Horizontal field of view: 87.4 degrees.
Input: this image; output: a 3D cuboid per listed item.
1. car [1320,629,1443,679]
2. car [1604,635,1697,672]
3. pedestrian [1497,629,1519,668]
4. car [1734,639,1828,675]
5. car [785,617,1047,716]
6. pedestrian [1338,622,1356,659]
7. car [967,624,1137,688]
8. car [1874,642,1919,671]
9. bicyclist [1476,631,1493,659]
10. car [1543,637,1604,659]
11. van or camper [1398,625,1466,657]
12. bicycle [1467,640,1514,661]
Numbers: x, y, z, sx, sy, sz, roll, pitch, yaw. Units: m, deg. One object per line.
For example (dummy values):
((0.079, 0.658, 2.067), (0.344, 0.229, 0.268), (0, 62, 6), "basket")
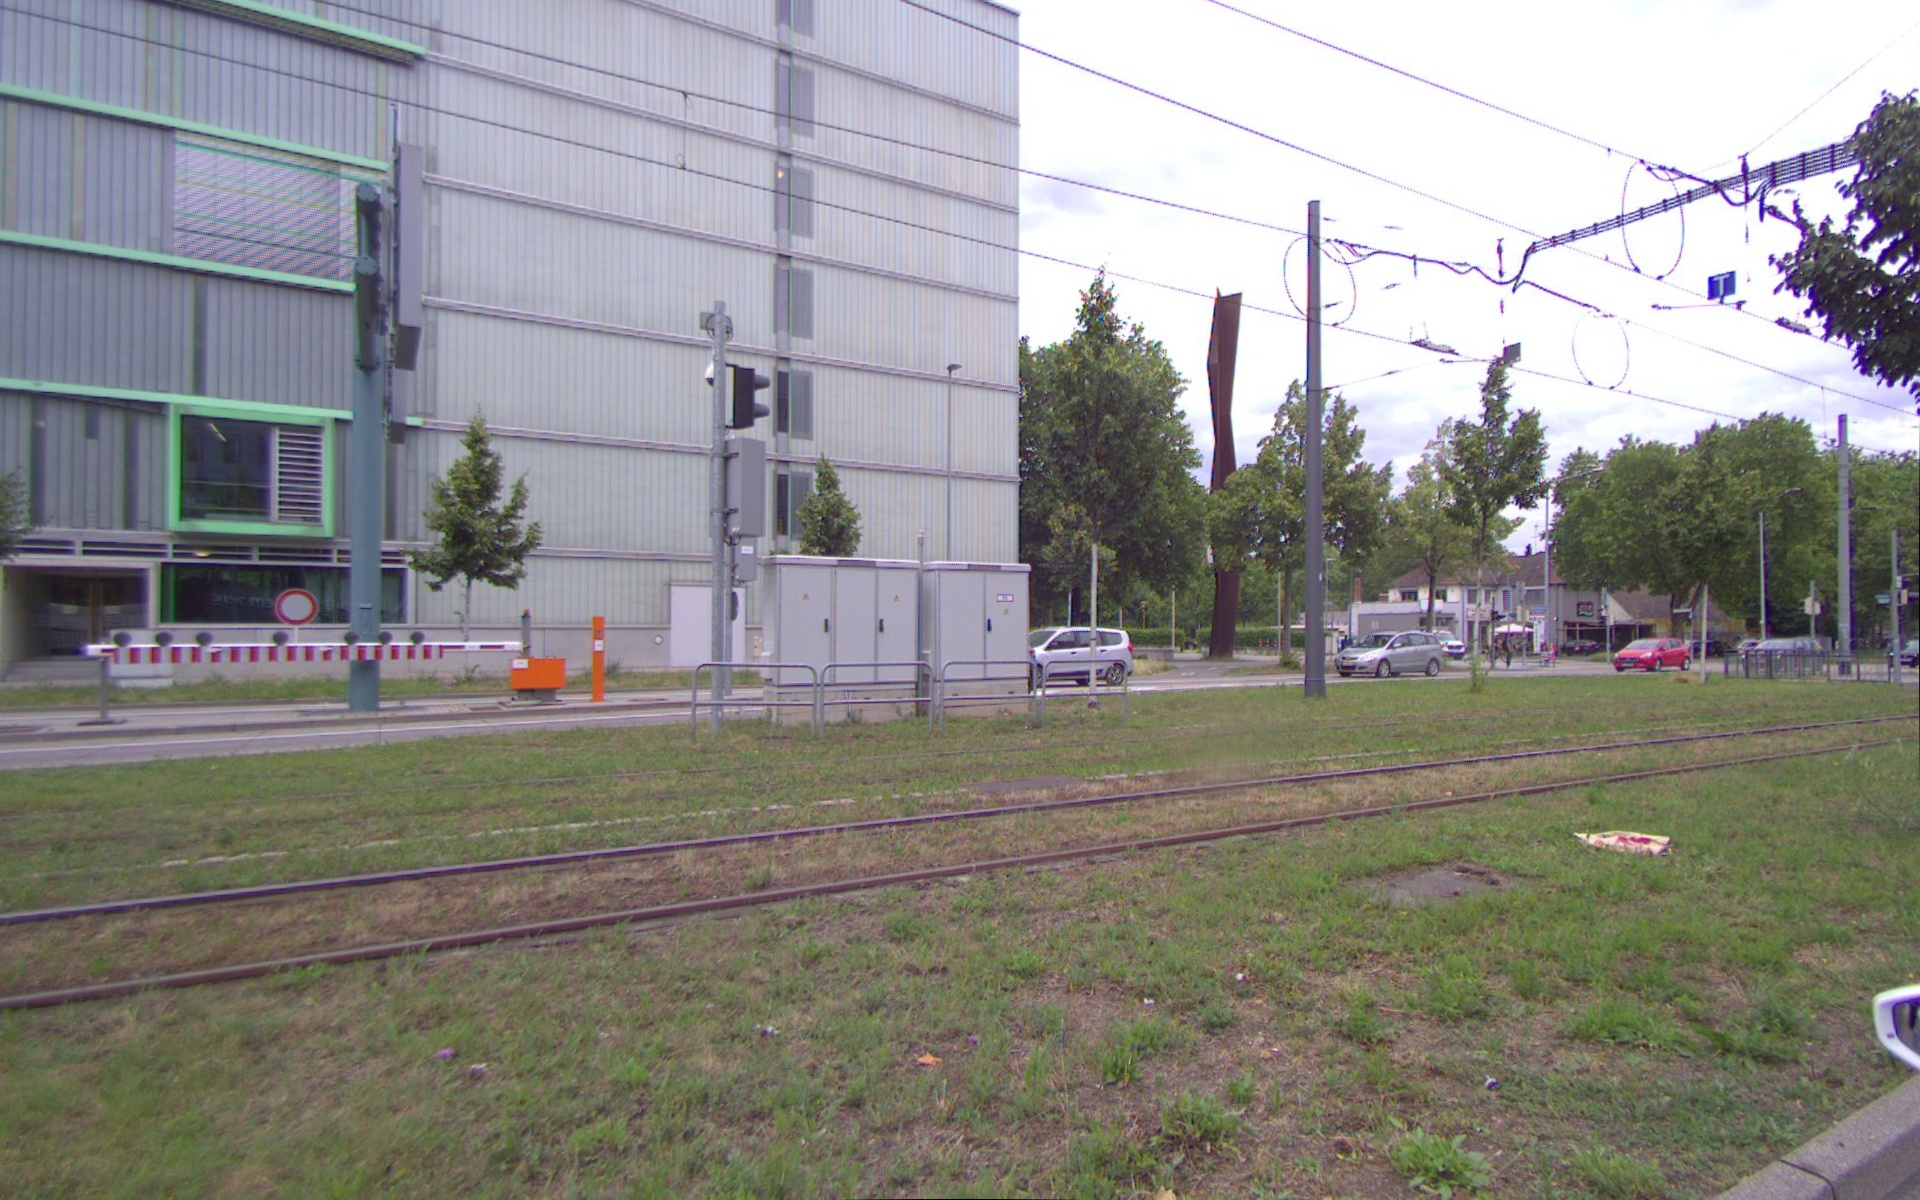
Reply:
((14.978, 1.877, 35.624), (4.623, 1.665, 1.711), (1, -2, -33), "car")
((31.145, 2.372, 45.283), (4.275, 1.591, 1.788), (1, -1, -29), "car")
((26.821, 2.370, 49.191), (0.769, 1.856, 0.771), (-1, -1, 43), "pedestrian")
((35.357, 2.433, 43.239), (4.692, 1.445, 1.655), (1, -3, -32), "car")
((-0.733, 1.147, 18.804), (4.647, 1.609, 1.949), (1, -1, -38), "car")
((21.975, 2.290, 57.046), (0.887, 2.040, 0.954), (0, -1, 18), "pedestrian")
((2.603, 1.542, 27.957), (4.529, 1.591, 1.786), (2, 0, -32), "car")
((48.875, 2.868, 51.572), (4.011, 1.395, 1.792), (1, -2, -31), "car")
((32.573, 2.799, 62.357), (0.838, 1.744, 0.719), (0, -1, 34), "bicyclist")
((54.955, 4.314, 90.093), (2.078, 1.840, 4.268), (1, -1, -25), "car")
((32.401, 2.778, 69.183), (2.416, 2.040, 5.283), (0, -1, 2), "van or camper")
((32.824, 3.107, 62.176), (2.474, 1.218, 0.738), (-1, -1, 35), "bicycle")
